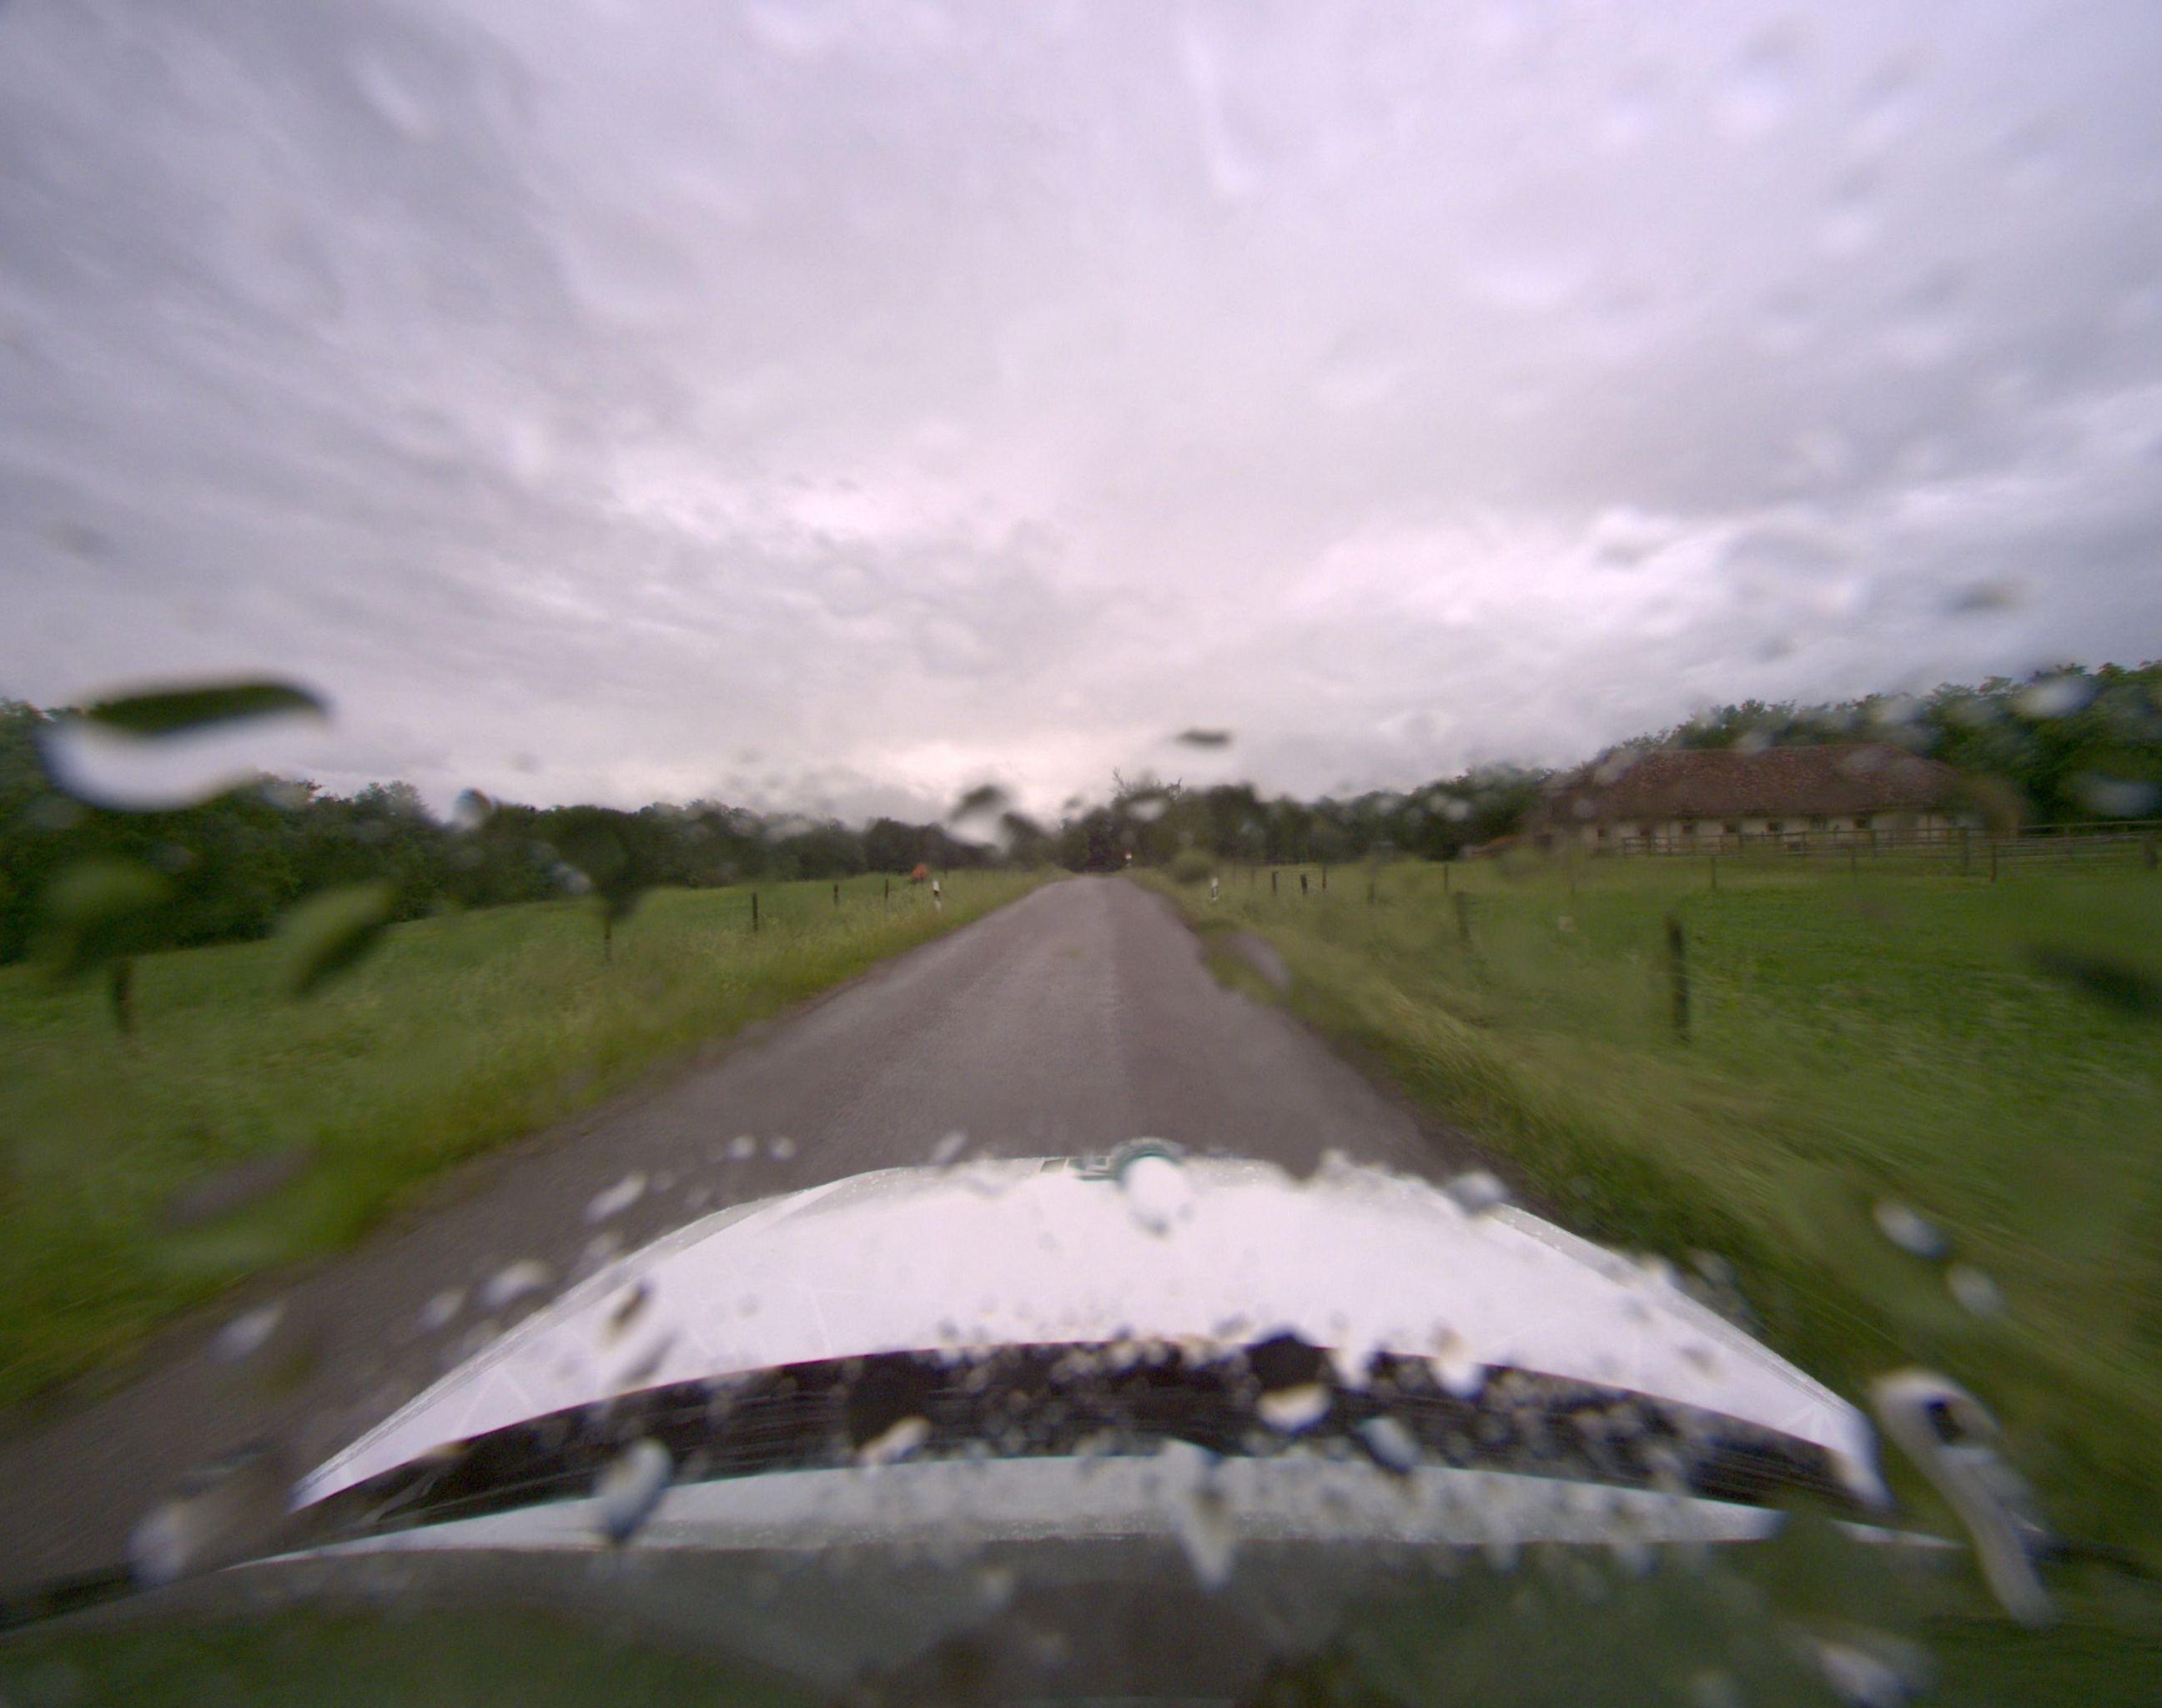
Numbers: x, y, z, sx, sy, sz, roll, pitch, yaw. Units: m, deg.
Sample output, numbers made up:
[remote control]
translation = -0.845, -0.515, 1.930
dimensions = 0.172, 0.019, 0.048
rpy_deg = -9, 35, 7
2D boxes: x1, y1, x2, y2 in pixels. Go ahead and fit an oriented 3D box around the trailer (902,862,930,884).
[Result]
[trailer]
translation = -12.053, 1.367, 59.606
dimensions = 1.751, 1.504, 3.080
rpy_deg = -2, 0, -9
